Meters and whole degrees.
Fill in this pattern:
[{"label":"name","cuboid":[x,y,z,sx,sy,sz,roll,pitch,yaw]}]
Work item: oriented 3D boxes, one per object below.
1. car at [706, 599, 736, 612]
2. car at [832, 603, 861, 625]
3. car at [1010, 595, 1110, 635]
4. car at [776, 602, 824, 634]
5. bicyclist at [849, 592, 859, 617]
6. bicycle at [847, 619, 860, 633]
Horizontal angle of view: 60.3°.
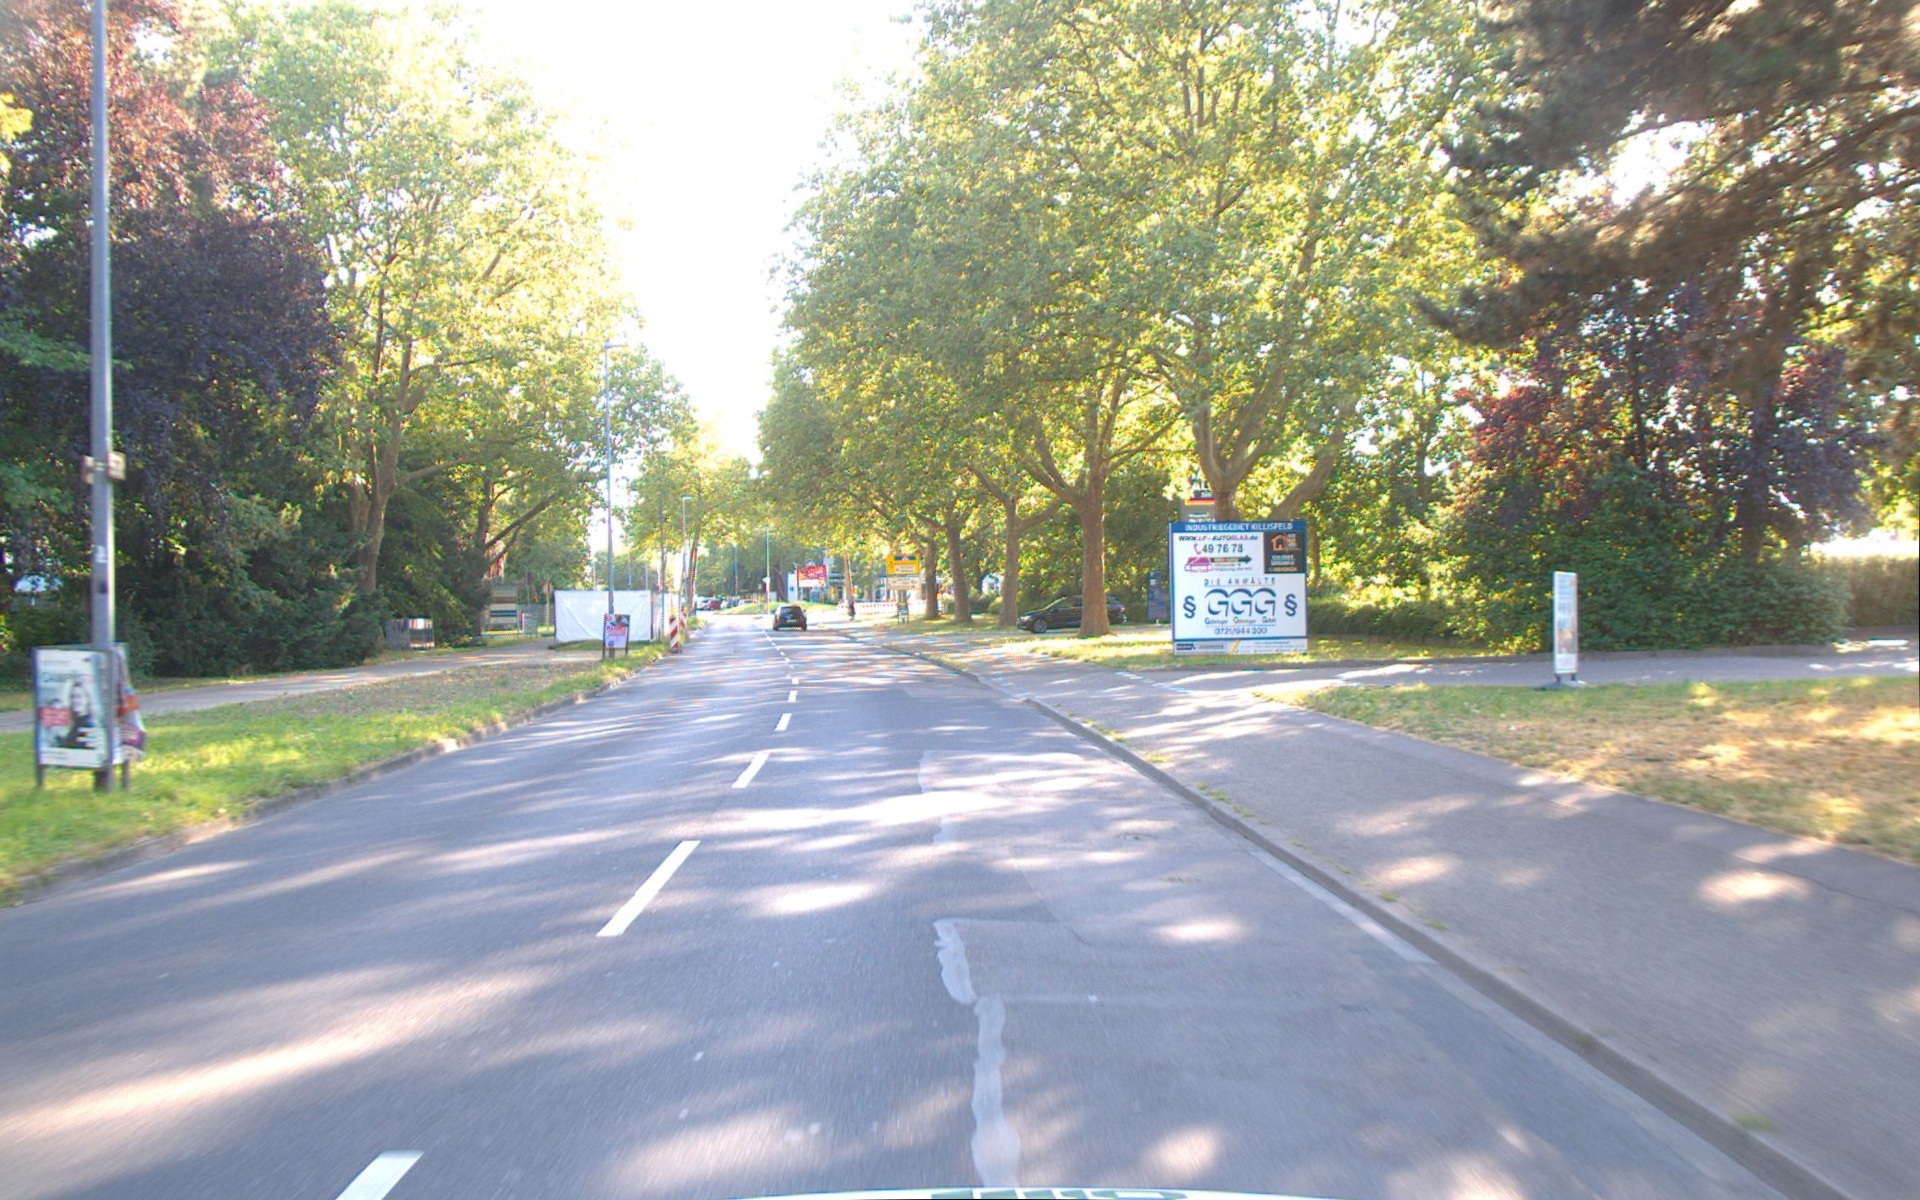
[{"label":"car","cuboid":[-34.655,0.809,239.551,3.958,1.777,1.771,0,0,-38]},{"label":"car","cuboid":[-10.939,1.319,159.324,1.951,2.049,4.004,-1,0,9]},{"label":"car","cuboid":[4.117,0.629,68.578,3.909,1.468,1.759,-2,0,-5]},{"label":"car","cuboid":[-8.761,0.949,90.699,1.800,1.633,3.865,-2,0,6]},{"label":"bicyclist","cuboid":[-7.632,0.329,118.757,0.638,1.735,0.870,0,0,-7]},{"label":"bicycle","cuboid":[-7.611,1.862,118.362,0.755,0.981,2.170,-3,0,-8]}]
